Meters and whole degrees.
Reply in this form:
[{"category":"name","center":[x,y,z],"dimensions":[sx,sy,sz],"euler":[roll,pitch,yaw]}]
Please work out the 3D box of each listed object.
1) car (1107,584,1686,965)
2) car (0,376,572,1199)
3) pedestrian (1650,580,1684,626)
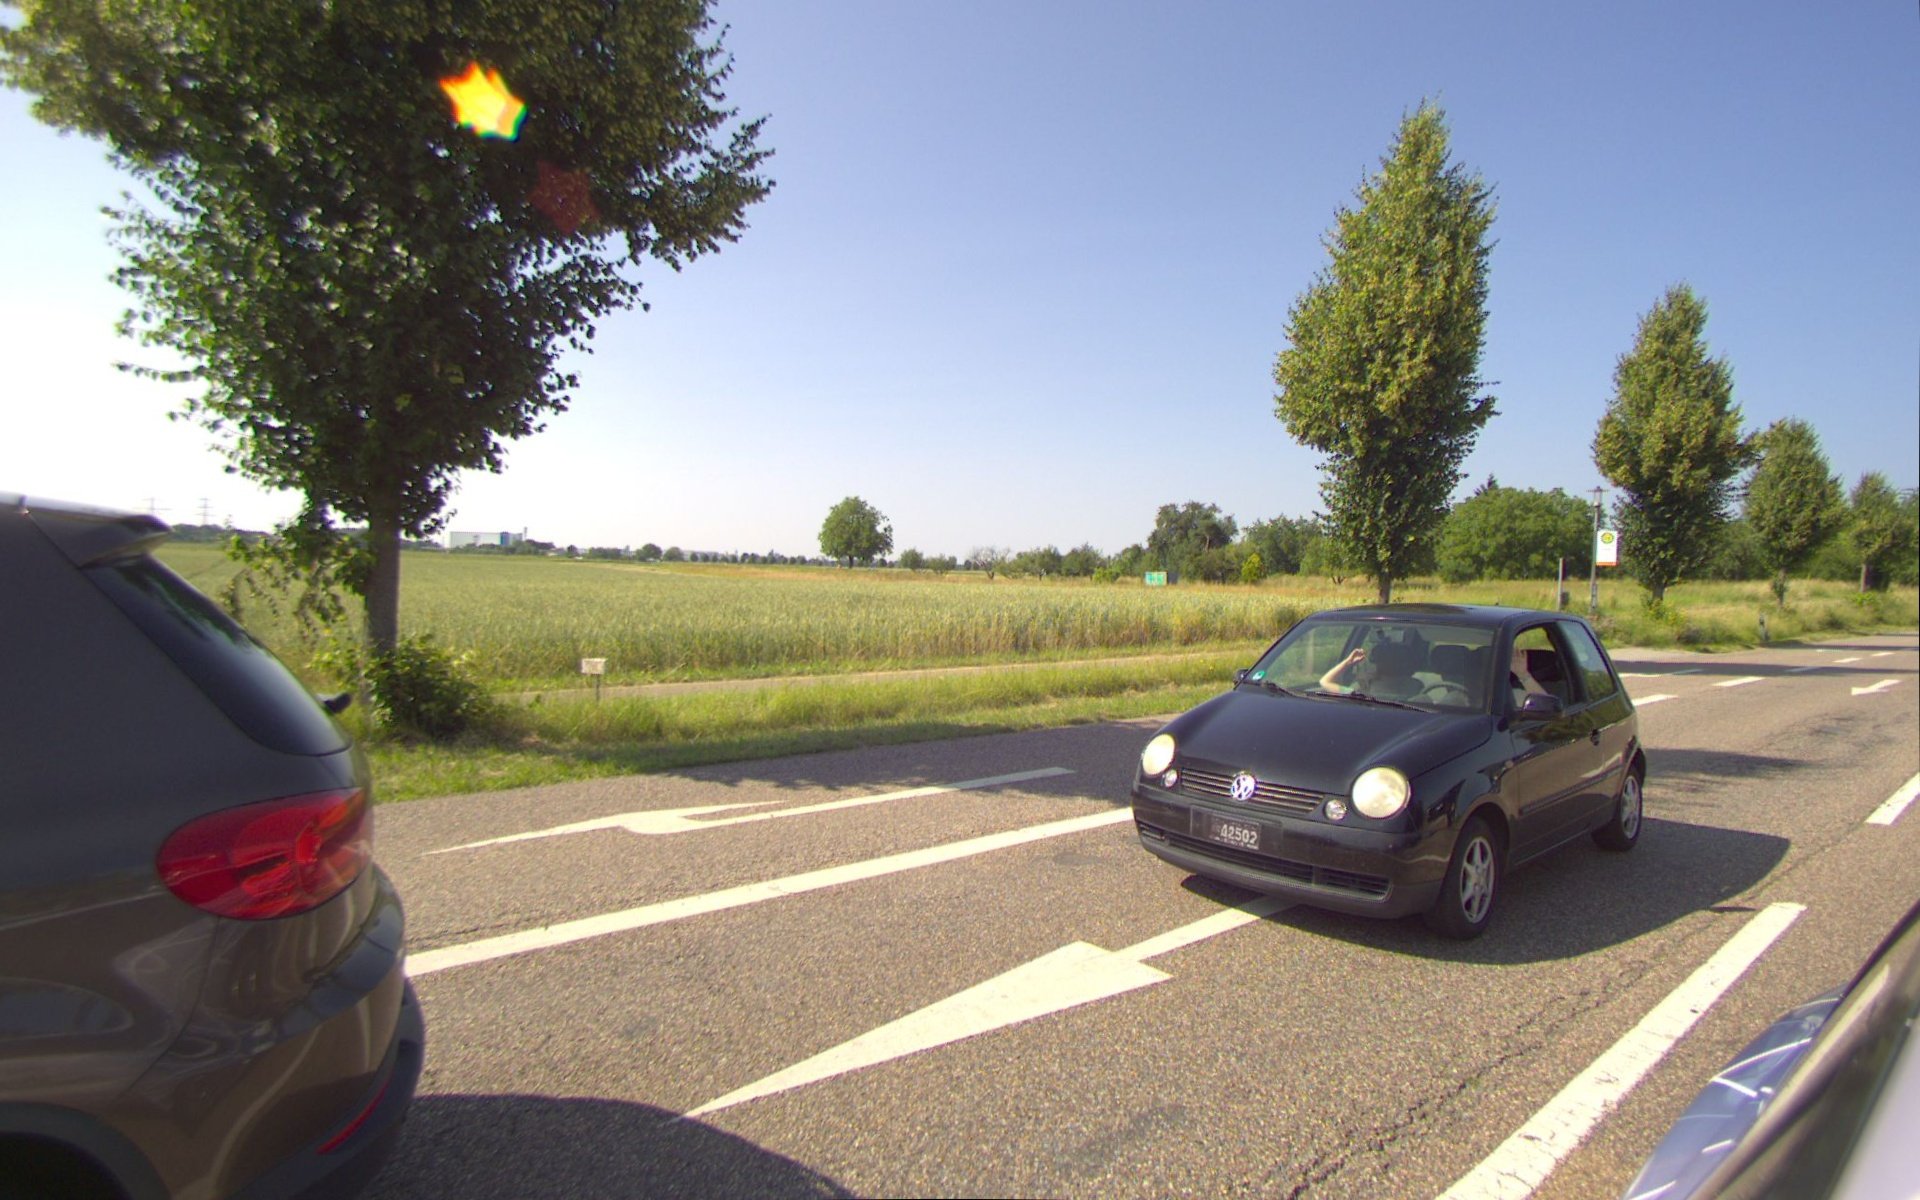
[{"category":"car","center":[2.603,0.652,5.653],"dimensions":[3.560,1.451,1.628],"euler":[0,1,-42]},{"category":"car","center":[-2.781,0.550,1.095],"dimensions":[4.075,1.676,1.758],"euler":[0,0,-42]},{"category":"pedestrian","center":[29.470,0.107,42.167],"dimensions":[1.174,1.862,0.903],"euler":[0,2,-43]}]
